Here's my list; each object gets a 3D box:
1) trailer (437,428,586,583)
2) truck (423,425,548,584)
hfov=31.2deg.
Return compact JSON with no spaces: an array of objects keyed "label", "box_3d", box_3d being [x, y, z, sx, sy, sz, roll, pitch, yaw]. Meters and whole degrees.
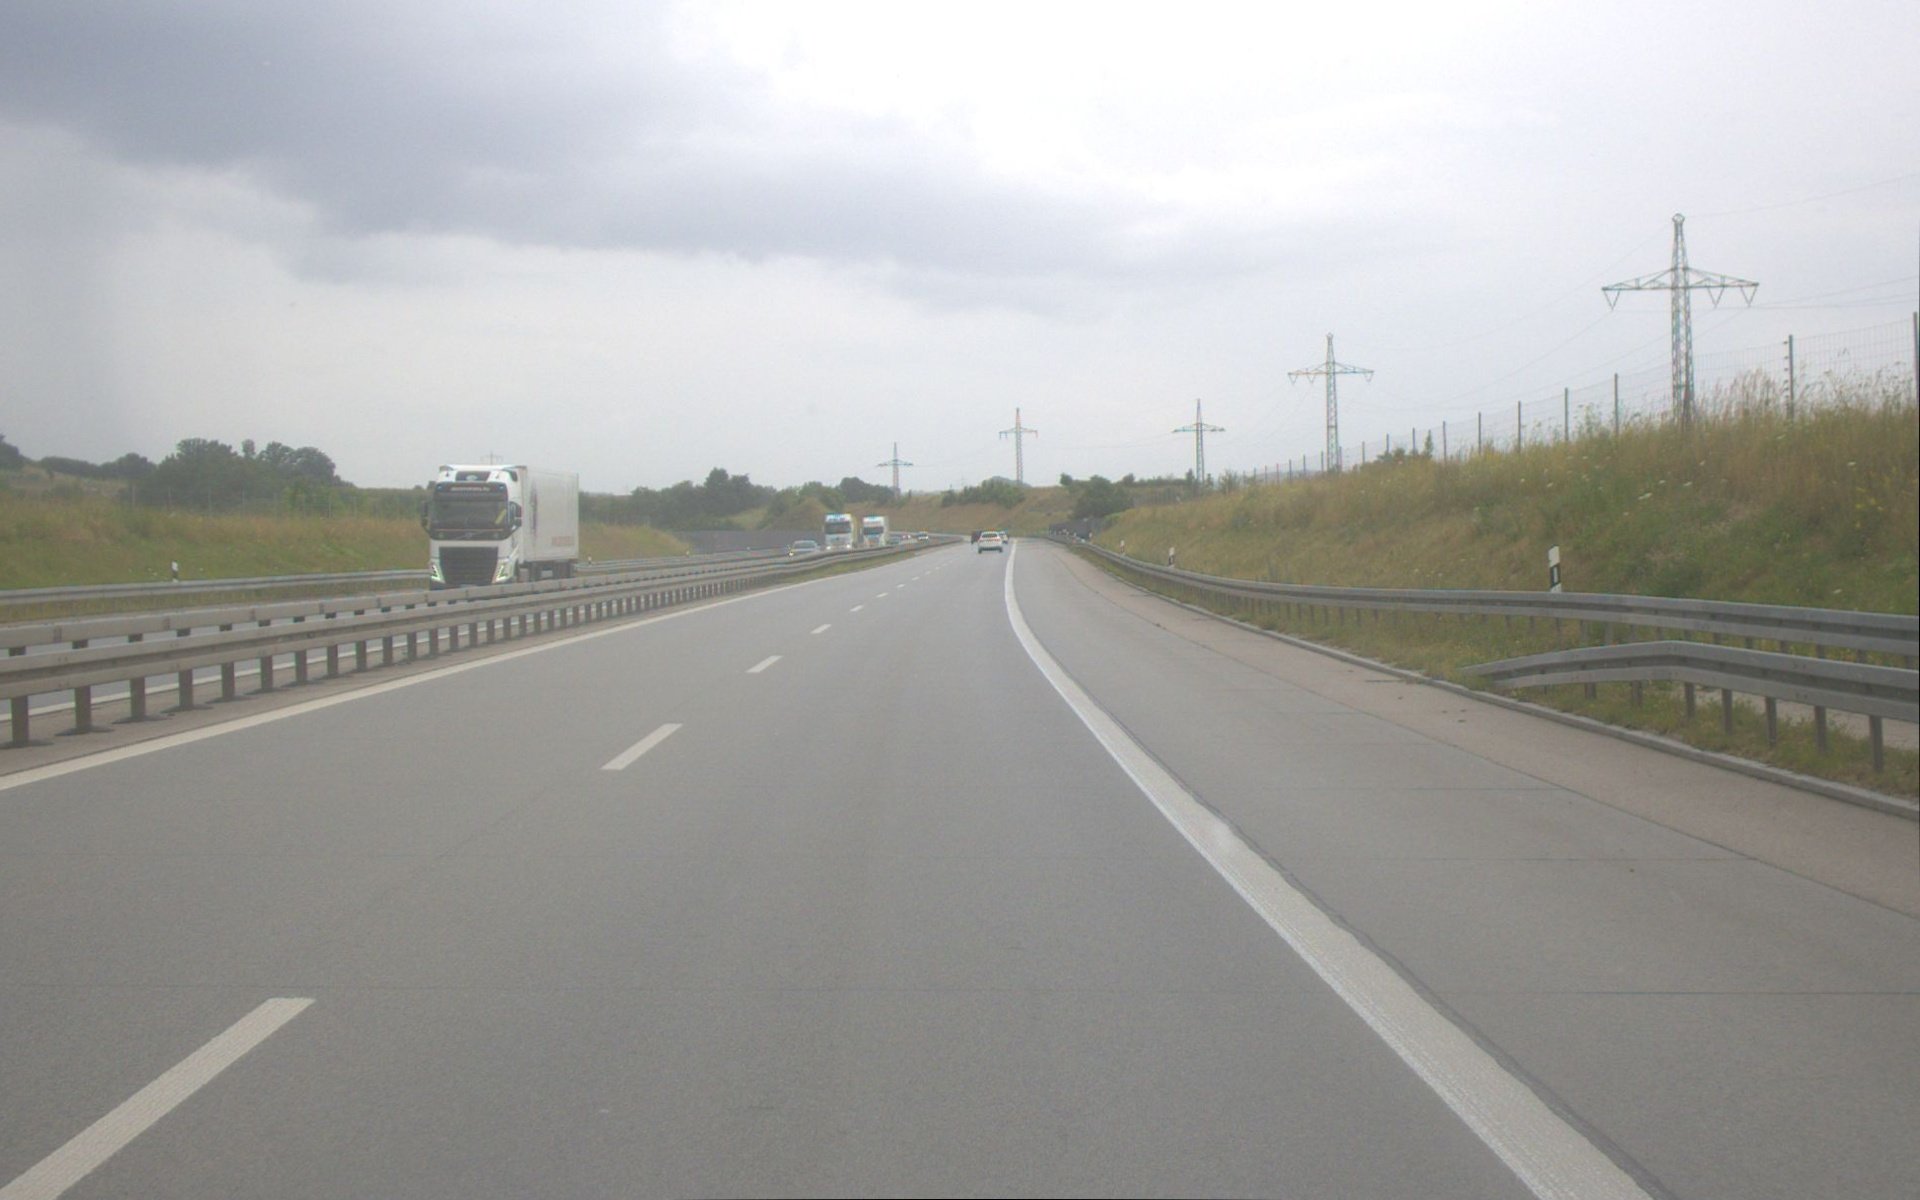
[{"label":"trailer","box_3d":[-14.338,-2.998,111.175,2.795,4.634,14.848,-1,1,0]},{"label":"truck","box_3d":[-14.341,-2.861,104.344,2.795,4.631,6.921,-1,1,0]}]
